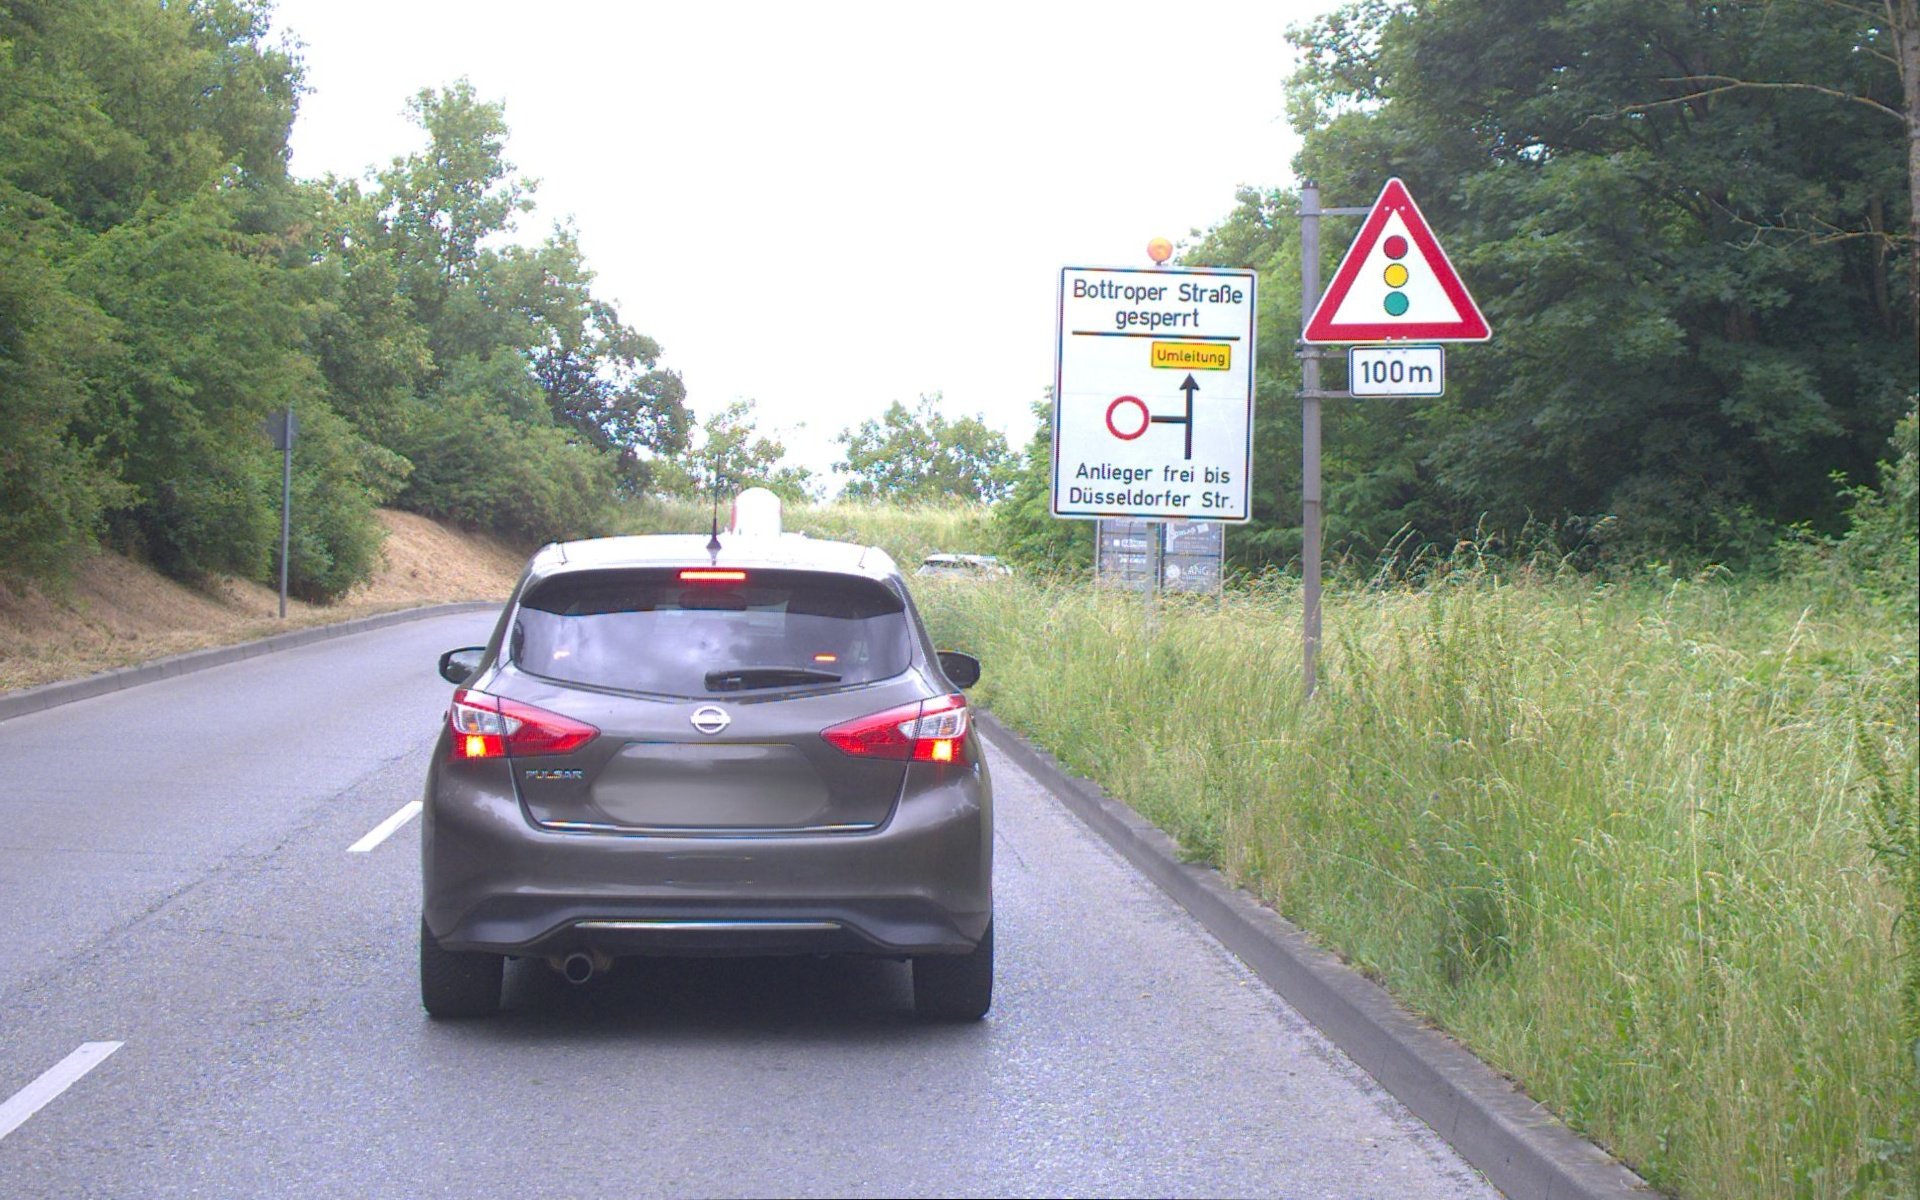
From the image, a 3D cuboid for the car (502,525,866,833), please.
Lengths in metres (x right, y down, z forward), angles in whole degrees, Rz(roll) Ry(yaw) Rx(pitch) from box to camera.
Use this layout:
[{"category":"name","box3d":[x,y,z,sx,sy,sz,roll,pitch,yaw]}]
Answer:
[{"category":"car","box3d":[-1.464,0.363,19.190,1.830,1.551,3.625,0,1,-2]}]

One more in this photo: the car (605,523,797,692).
[{"category":"car","box3d":[-2.470,0.030,33.442,1.736,1.551,3.544,0,1,-2]}]

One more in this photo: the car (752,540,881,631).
[{"category":"car","box3d":[-2.471,-0.282,59.986,1.736,1.521,3.641,0,1,6]}]

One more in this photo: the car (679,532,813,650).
[{"category":"car","box3d":[-2.887,-0.154,46.510,1.736,1.521,3.544,0,1,-3]}]

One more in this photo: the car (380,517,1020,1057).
[{"category":"car","box3d":[-0.862,0.512,11.691,1.830,1.551,3.500,1,1,-4]}]

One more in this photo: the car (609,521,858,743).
[{"category":"car","box3d":[-1.651,0.188,25.801,1.736,1.551,3.544,0,1,-2]}]

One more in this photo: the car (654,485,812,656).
[{"category":"car","box3d":[-2.634,-0.372,40.534,1.736,1.928,3.544,0,1,-2]}]
